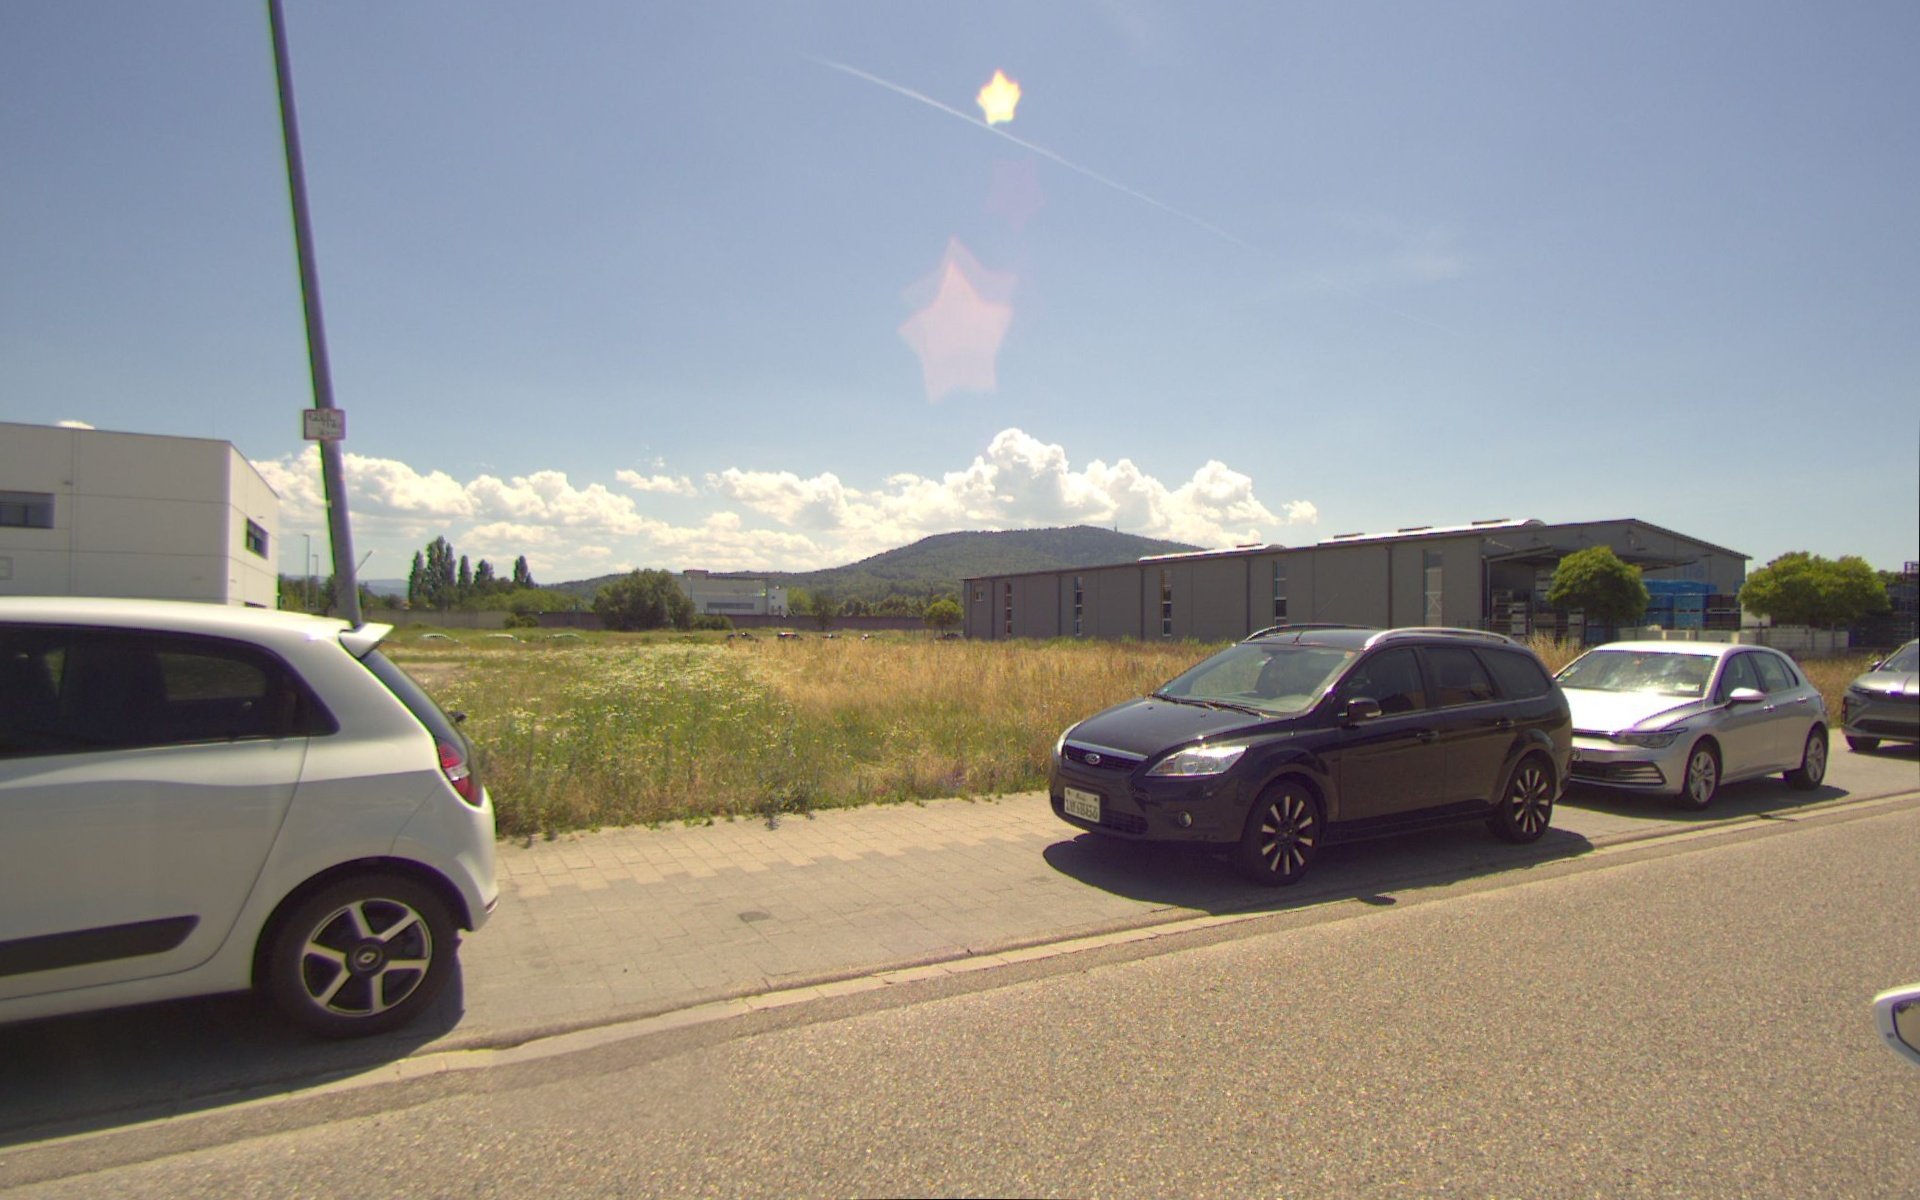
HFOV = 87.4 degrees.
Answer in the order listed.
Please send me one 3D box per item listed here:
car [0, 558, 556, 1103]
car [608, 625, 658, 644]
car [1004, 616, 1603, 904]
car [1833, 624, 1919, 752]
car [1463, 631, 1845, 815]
[{"bbox_3d":[-3.634,0.715,3.729,3.725,1.678,1.778,1,-1,-31],"label":"car"},{"bbox_3d":[-35.899,3.810,110.230,4.863,2.040,1.984,2,-2,-31],"label":"car"},{"bbox_3d":[2.606,0.926,7.313,4.329,1.537,1.754,1,-1,-31],"label":"car"},{"bbox_3d":[14.239,1.195,14.070,4.412,1.628,1.782,2,-1,-31],"label":"car"},{"bbox_3d":[7.098,1.083,10.161,4.155,1.470,1.753,1,-1,-33],"label":"car"}]
